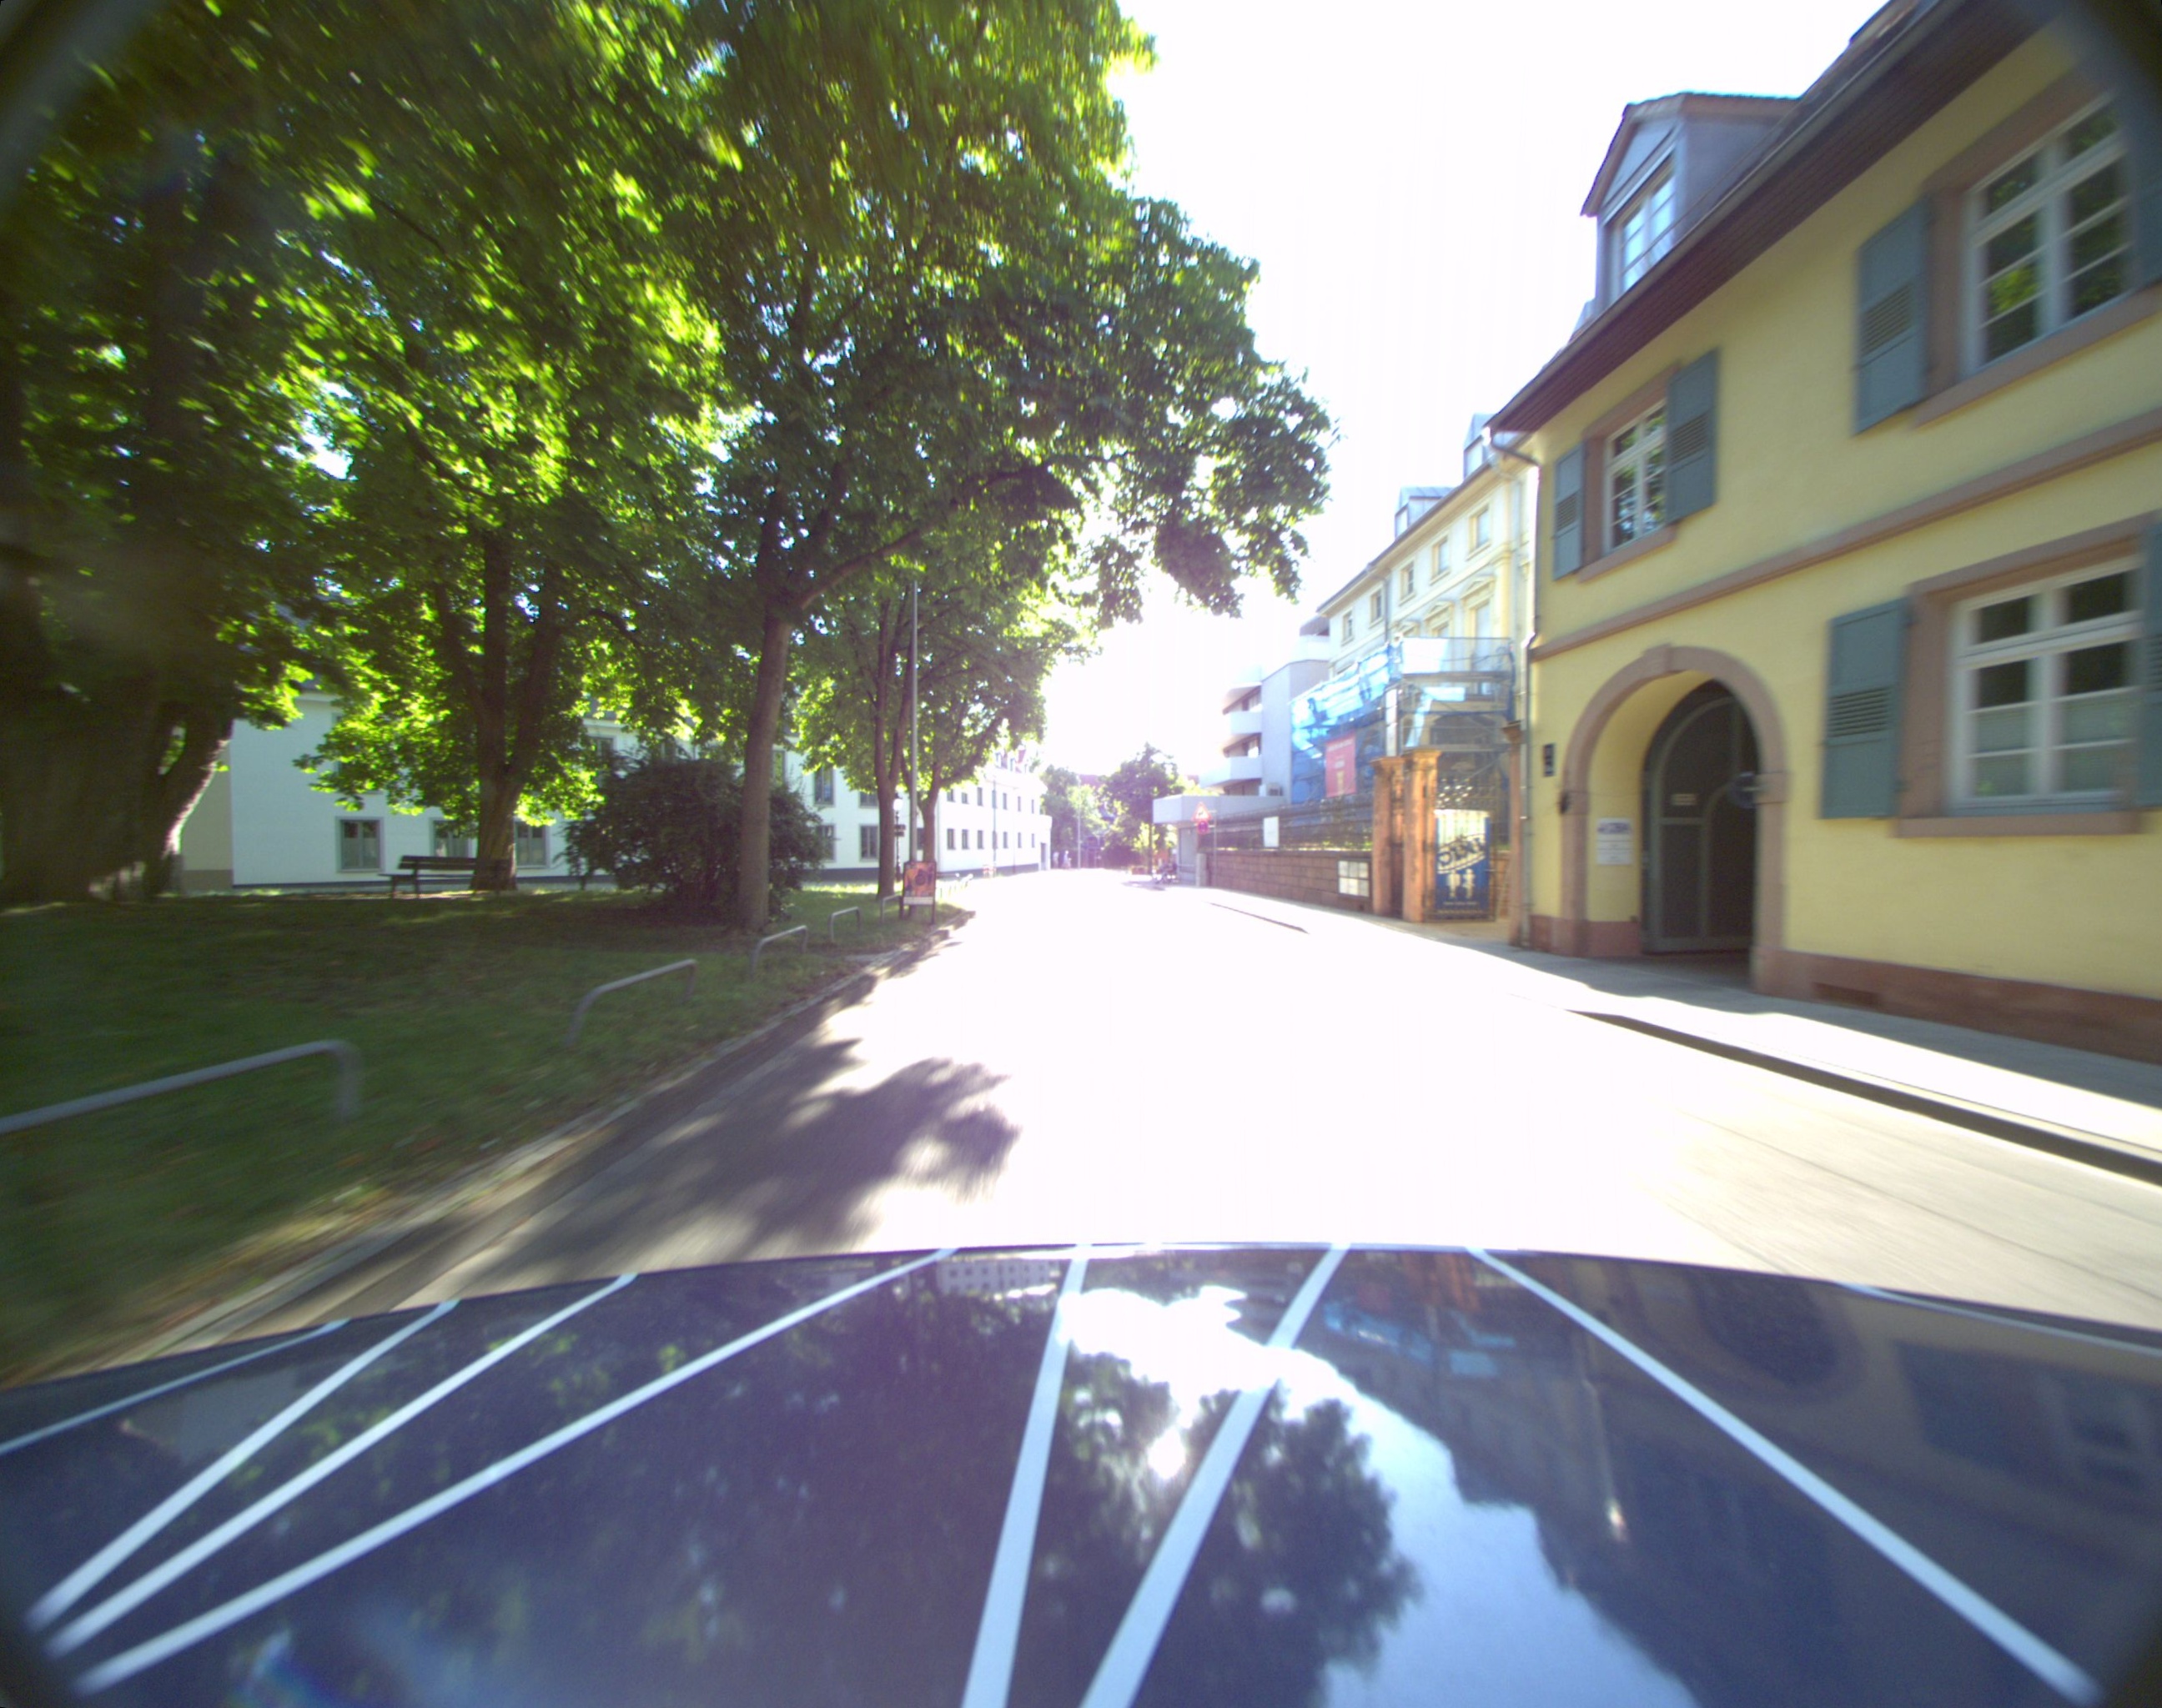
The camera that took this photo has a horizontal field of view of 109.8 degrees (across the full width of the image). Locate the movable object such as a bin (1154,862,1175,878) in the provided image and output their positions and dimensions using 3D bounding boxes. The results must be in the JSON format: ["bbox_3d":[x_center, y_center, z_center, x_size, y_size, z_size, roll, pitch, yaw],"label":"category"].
[{"bbox_3d":[4.996,0.960,45.724,1.038,0.923,0.840,-3,1,-10],"label":"movable object such as a bin"}]

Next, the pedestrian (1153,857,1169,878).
[{"bbox_3d":[4.821,0.818,45.700,0.743,1.179,0.840,-3,1,-10],"label":"pedestrian"}]

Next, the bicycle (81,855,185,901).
[{"bbox_3d":[-27.892,0.698,22.390,1.767,1.310,0.720,0,1,-32],"label":"bicycle"}]

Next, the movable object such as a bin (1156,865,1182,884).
[{"bbox_3d":[4.550,1.062,39.231,1.035,0.923,0.842,-2,1,31],"label":"movable object such as a bin"}]

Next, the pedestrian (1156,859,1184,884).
[{"bbox_3d":[4.598,0.875,39.199,1.155,1.222,0.842,2,3,31],"label":"pedestrian"}]
